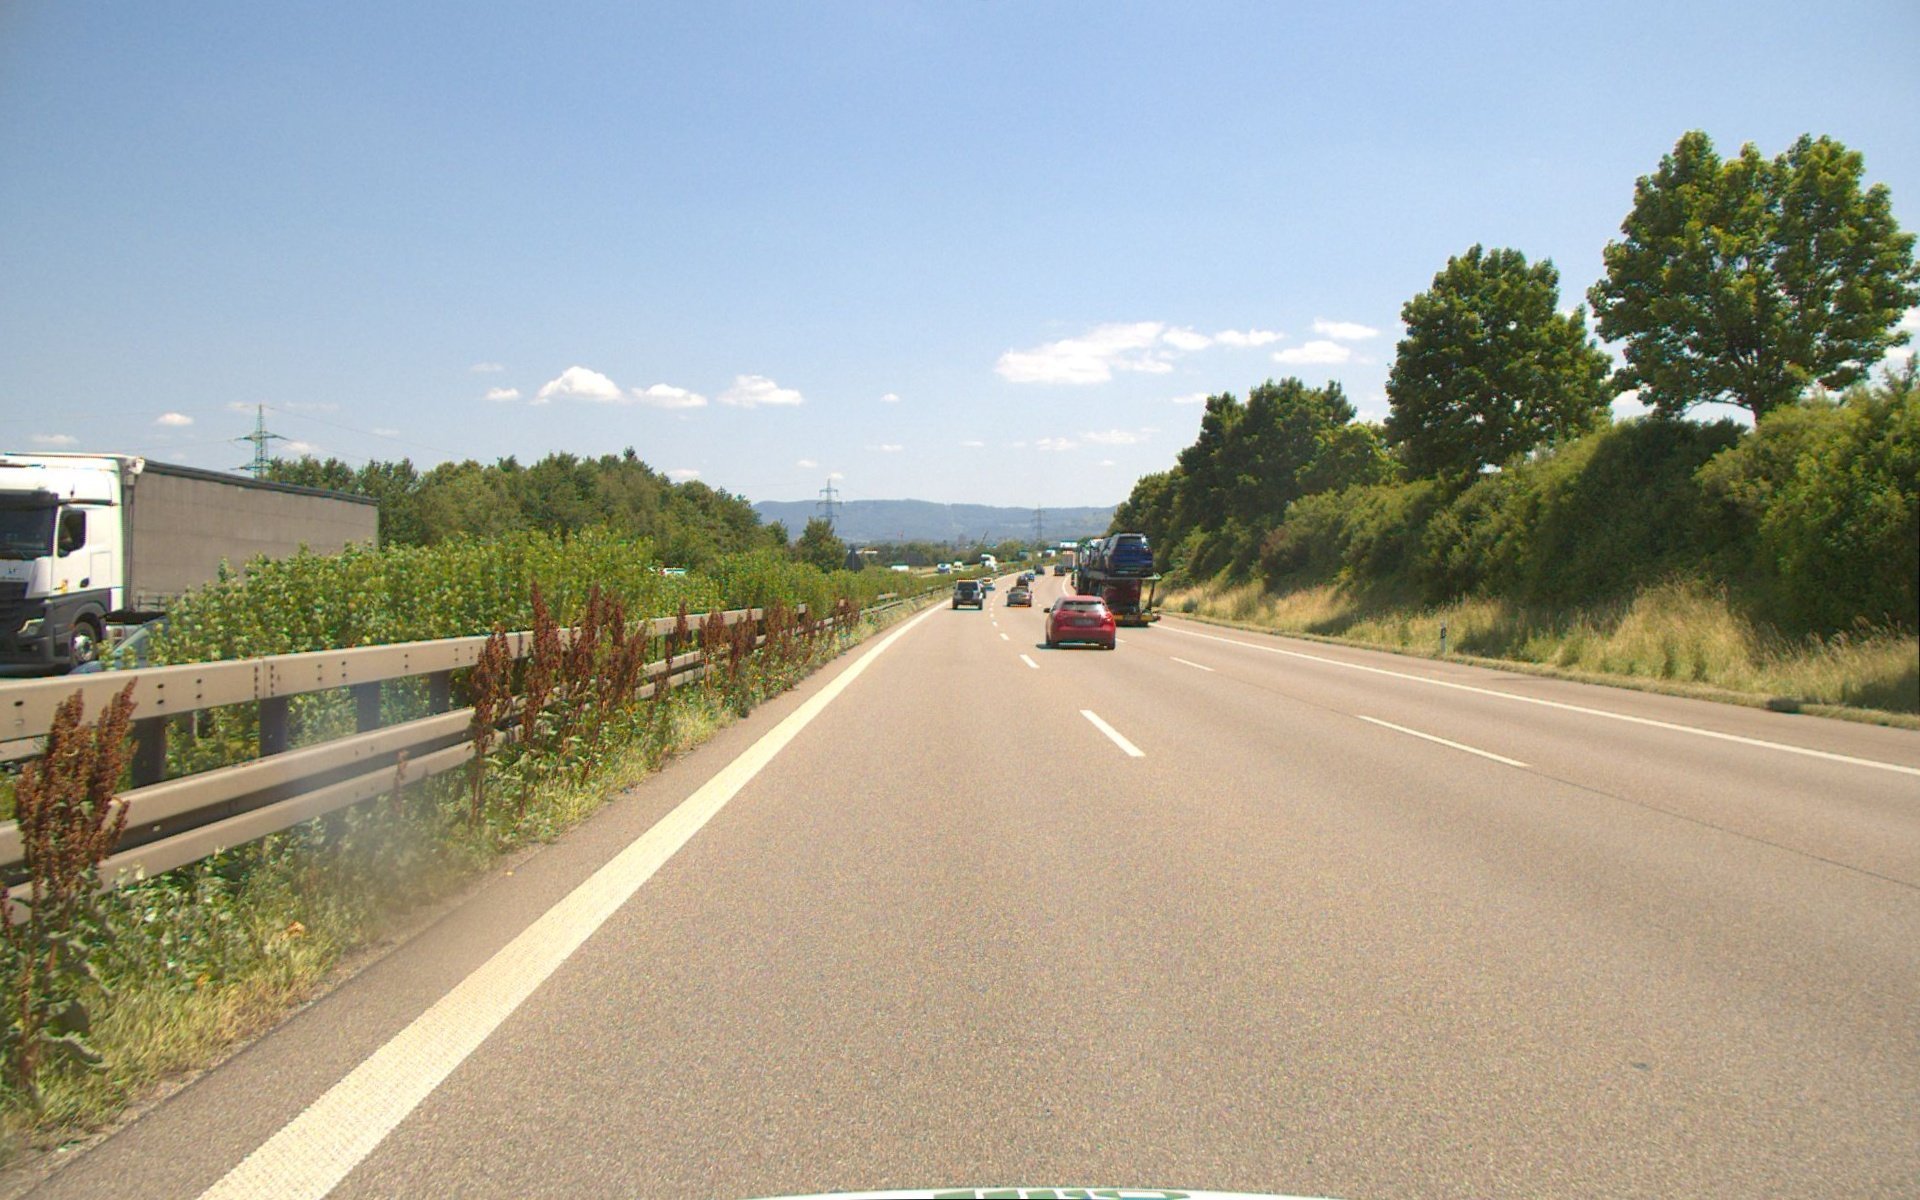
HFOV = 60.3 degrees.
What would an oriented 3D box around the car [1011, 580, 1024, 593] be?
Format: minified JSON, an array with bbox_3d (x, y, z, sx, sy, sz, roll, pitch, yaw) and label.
[{"bbox_3d":[7.777,-1.872,222.705,1.601,1.734,3.403,1,1,4],"label":"car"}]

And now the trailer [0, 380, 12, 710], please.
[{"bbox_3d":[-13.681,-0.641,13.982,3.127,4.147,14.043,1,1,0],"label":"trailer"}]

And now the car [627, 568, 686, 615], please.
[{"bbox_3d":[-12.335,-0.363,67.398,1.595,1.860,3.770,1,1,1],"label":"car"}]

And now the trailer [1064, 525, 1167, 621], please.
[{"bbox_3d":[7.216,-1.256,79.061,2.798,4.063,15.390,1,1,-2],"label":"trailer"}]

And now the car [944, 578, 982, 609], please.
[{"bbox_3d":[0.171,-0.439,106.151,2.042,1.861,4.750,1,1,-4],"label":"car"}]

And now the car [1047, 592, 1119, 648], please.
[{"bbox_3d":[3.355,0.516,45.746,1.651,1.403,3.948,1,1,0],"label":"car"}]

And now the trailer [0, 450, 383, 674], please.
[{"bbox_3d":[-17.243,-0.813,37.972,2.907,4.147,14.043,1,1,0],"label":"trailer"}]

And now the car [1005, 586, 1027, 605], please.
[{"bbox_3d":[3.996,-0.356,118.785,1.423,1.289,3.538,1,1,-1],"label":"car"}]

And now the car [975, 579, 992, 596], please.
[{"bbox_3d":[2.807,-1.502,197.670,1.662,2.049,3.824,1,1,4],"label":"car"}]

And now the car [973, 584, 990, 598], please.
[{"bbox_3d":[1.919,-0.821,149.943,1.425,1.289,3.338,1,1,2],"label":"car"}]

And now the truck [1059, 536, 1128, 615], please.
[{"bbox_3d":[6.922,-1.297,86.835,2.699,3.920,6.640,1,1,-3],"label":"truck"}]

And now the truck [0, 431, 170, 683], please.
[{"bbox_3d":[-17.352,-0.777,30.298,2.949,4.181,5.622,1,1,0],"label":"truck"}]
